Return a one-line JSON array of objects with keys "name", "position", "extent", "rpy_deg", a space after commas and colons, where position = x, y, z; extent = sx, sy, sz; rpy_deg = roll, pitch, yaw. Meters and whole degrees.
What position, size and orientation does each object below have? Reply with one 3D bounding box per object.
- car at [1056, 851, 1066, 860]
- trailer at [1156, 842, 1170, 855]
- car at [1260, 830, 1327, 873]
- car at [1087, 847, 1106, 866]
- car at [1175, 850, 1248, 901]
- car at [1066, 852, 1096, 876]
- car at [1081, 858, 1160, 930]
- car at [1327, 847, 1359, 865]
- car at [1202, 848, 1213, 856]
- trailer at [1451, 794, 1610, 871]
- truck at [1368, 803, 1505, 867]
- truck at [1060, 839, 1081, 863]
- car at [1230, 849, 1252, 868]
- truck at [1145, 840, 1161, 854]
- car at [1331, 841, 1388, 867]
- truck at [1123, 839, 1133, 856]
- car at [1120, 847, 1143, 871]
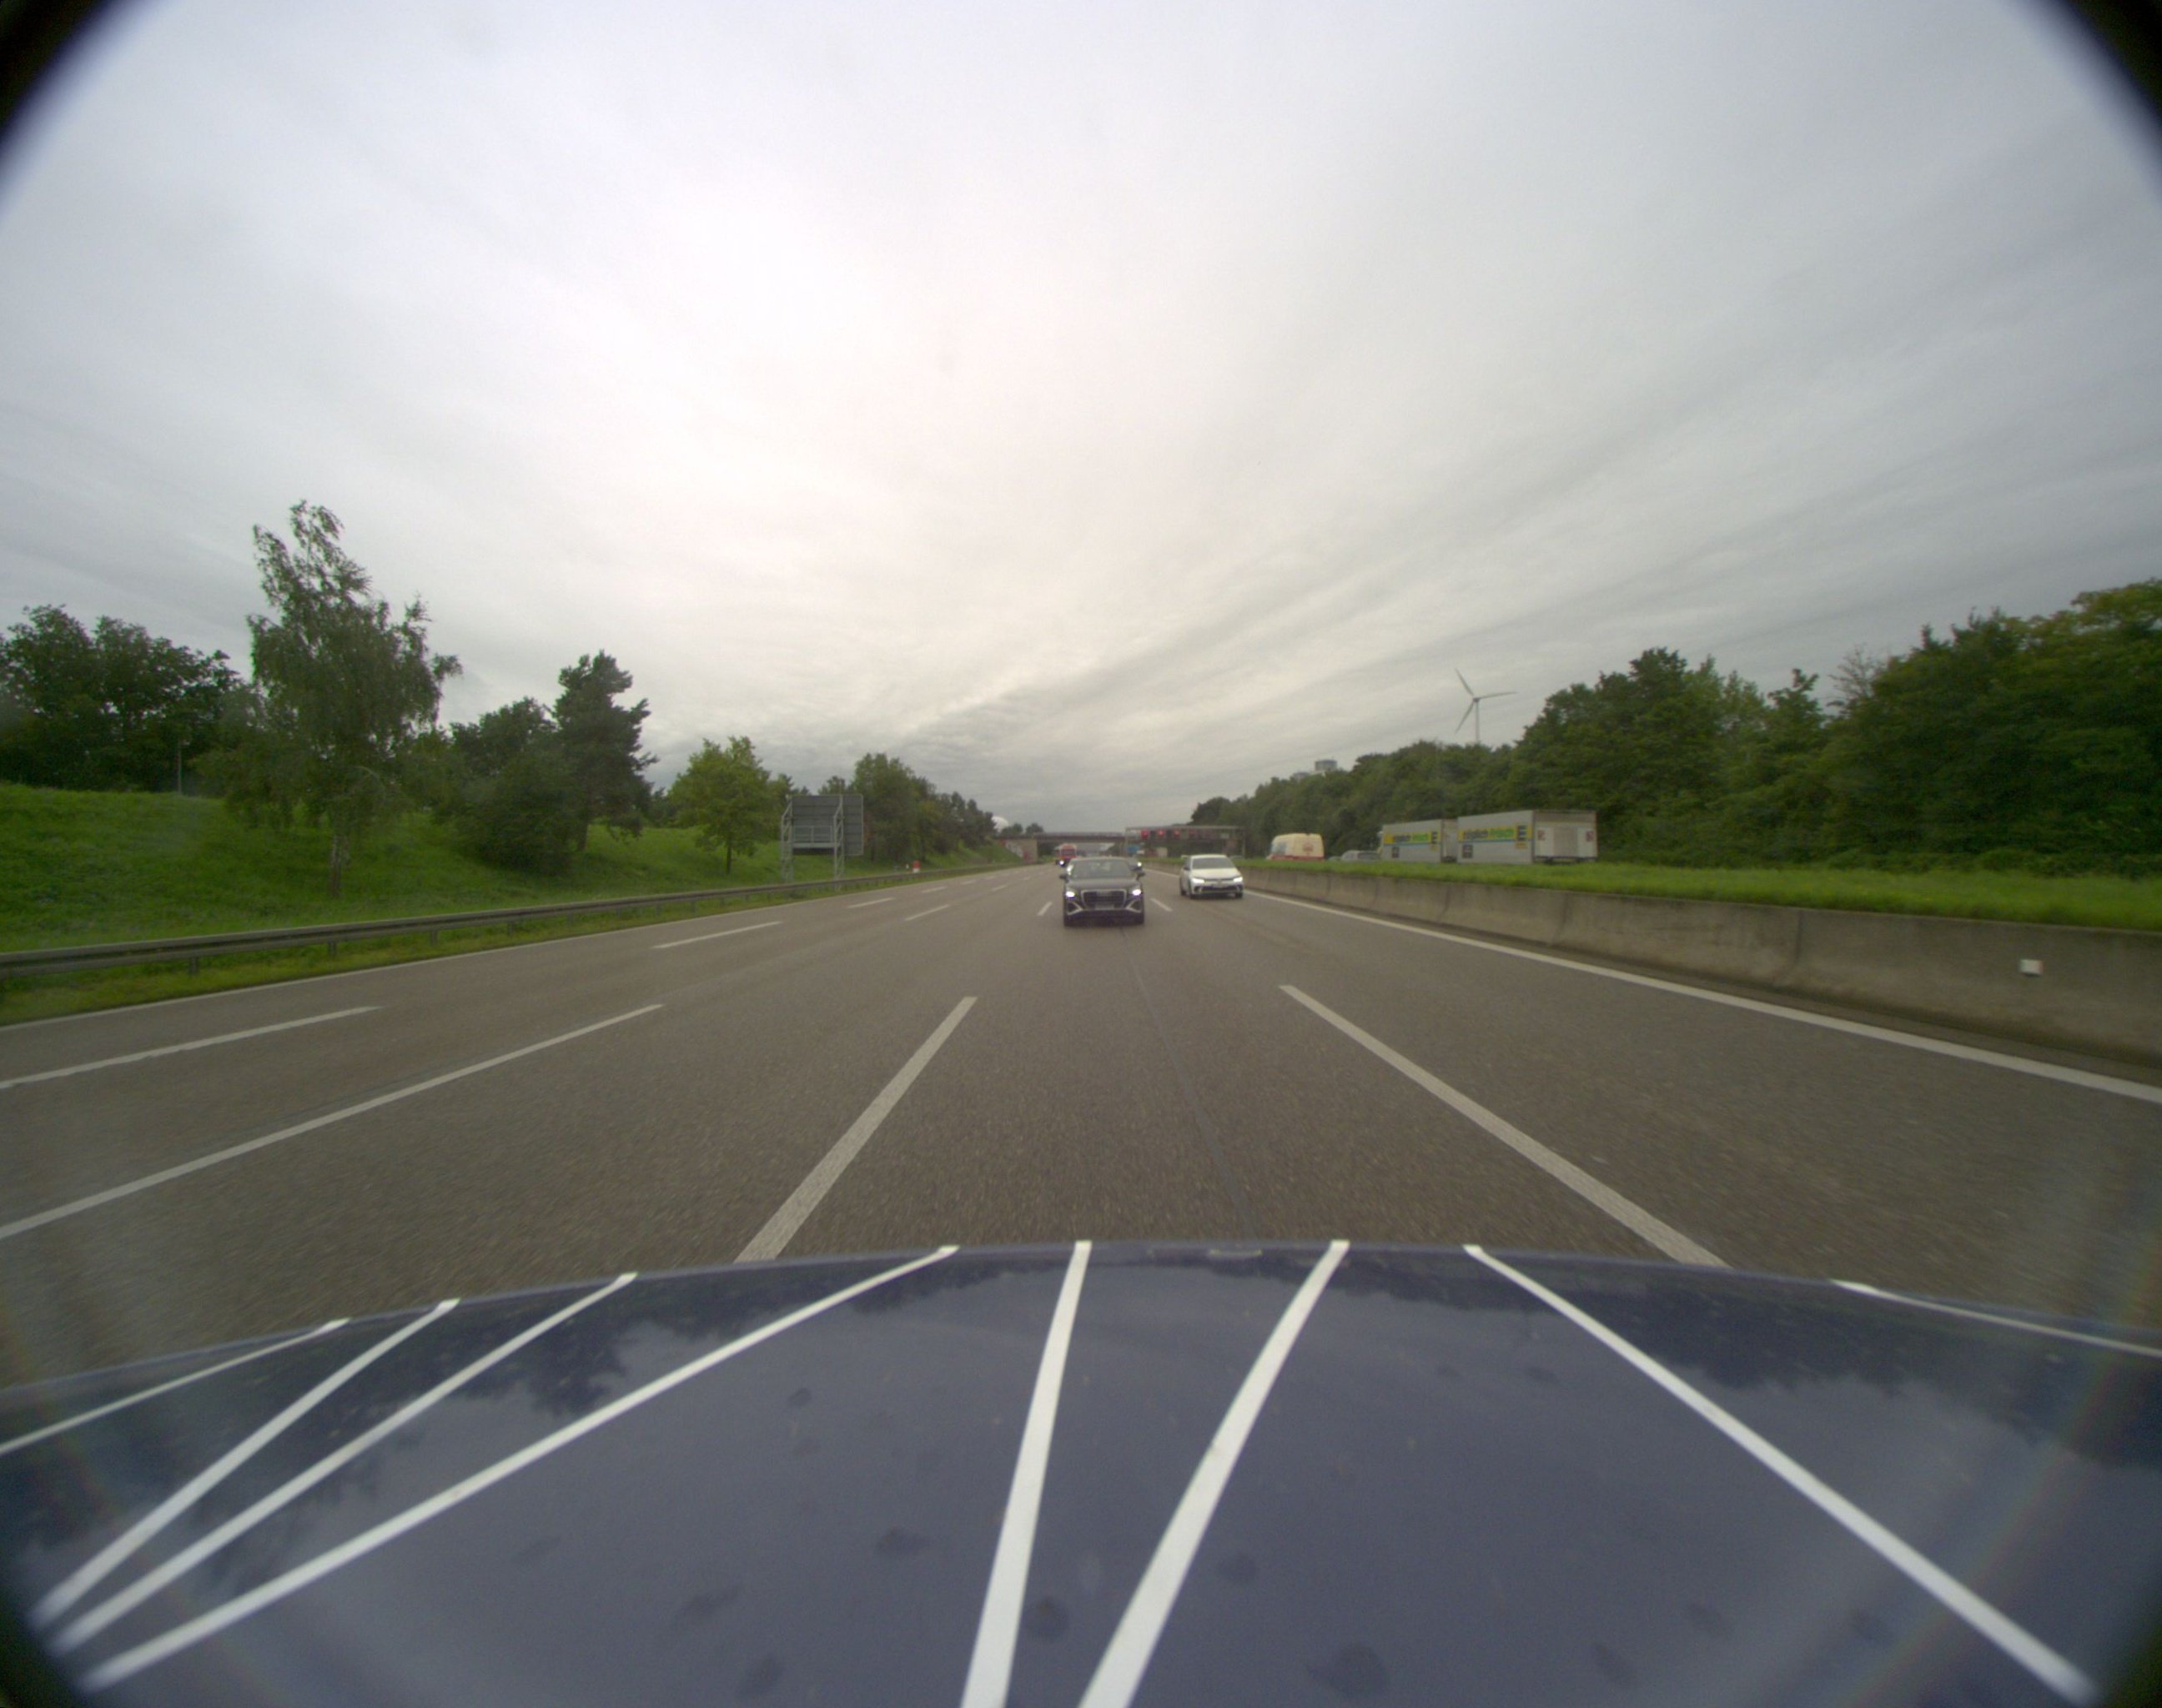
[{"name": "car", "position": [-4.568, 0.285, 174.875], "extent": [1.998, 2.002, 4.000], "rpy_deg": [-2, 1, 2]}, {"name": "trailer", "position": [22.701, -1.594, 211.870], "extent": [2.692, 3.519, 11.869], "rpy_deg": [-2, 1, 1]}, {"name": "car", "position": [13.046, -0.196, 47.119], "extent": [2.064, 2.371, 7.322], "rpy_deg": [-2, 1, 0]}, {"name": "car", "position": [1.712, 0.275, 85.658], "extent": [1.998, 2.002, 4.000], "rpy_deg": [-2, 1, 1]}, {"name": "car", "position": [4.466, 0.679, 26.558], "extent": [1.757, 1.608, 4.663], "rpy_deg": [-1, 0, 0]}, {"name": "car", "position": [0.034, 0.663, 54.445], "extent": [1.998, 1.555, 4.910], "rpy_deg": [-2, 0, 1]}, {"name": "car", "position": [0.845, 0.854, 17.684], "extent": [1.616, 1.403, 3.326], "rpy_deg": [-2, 1, 0]}, {"name": "car", "position": [28.318, 0.189, 82.172], "extent": [1.999, 1.783, 3.999], "rpy_deg": [-2, 1, 0]}, {"name": "car", "position": [30.141, -0.482, 181.447], "extent": [1.998, 1.778, 4.304], "rpy_deg": [-2, 1, 2]}, {"name": "trailer", "position": [20.475, -0.941, 35.295], "extent": [2.784, 3.059, 7.872], "rpy_deg": [-2, 1, 1]}, {"name": "truck", "position": [20.566, -1.045, 45.005], "extent": [2.891, 3.202, 11.357], "rpy_deg": [-2, 1, 1]}, {"name": "truck", "position": [-1.571, -0.499, 122.960], "extent": [2.836, 3.634, 10.671], "rpy_deg": [-2, 1, 2]}, {"name": "car", "position": [18.072, 0.501, 86.022], "extent": [1.706, 2.002, 3.953], "rpy_deg": [-3, 1, 1]}, {"name": "truck", "position": [19.104, -1.801, 201.414], "extent": [2.958, 3.446, 11.183], "rpy_deg": [-2, 1, 0]}, {"name": "car", "position": [16.470, -0.023, 45.127], "extent": [1.998, 1.405, 4.000], "rpy_deg": [-2, 1, 2]}, {"name": "truck", "position": [12.358, -1.656, 199.233], "extent": [2.067, 4.353, 6.423], "rpy_deg": [-2, 1, -1]}, {"name": "car", "position": [4.419, 0.417, 67.344], "extent": [1.725, 2.002, 3.851], "rpy_deg": [-2, 1, 1]}]
